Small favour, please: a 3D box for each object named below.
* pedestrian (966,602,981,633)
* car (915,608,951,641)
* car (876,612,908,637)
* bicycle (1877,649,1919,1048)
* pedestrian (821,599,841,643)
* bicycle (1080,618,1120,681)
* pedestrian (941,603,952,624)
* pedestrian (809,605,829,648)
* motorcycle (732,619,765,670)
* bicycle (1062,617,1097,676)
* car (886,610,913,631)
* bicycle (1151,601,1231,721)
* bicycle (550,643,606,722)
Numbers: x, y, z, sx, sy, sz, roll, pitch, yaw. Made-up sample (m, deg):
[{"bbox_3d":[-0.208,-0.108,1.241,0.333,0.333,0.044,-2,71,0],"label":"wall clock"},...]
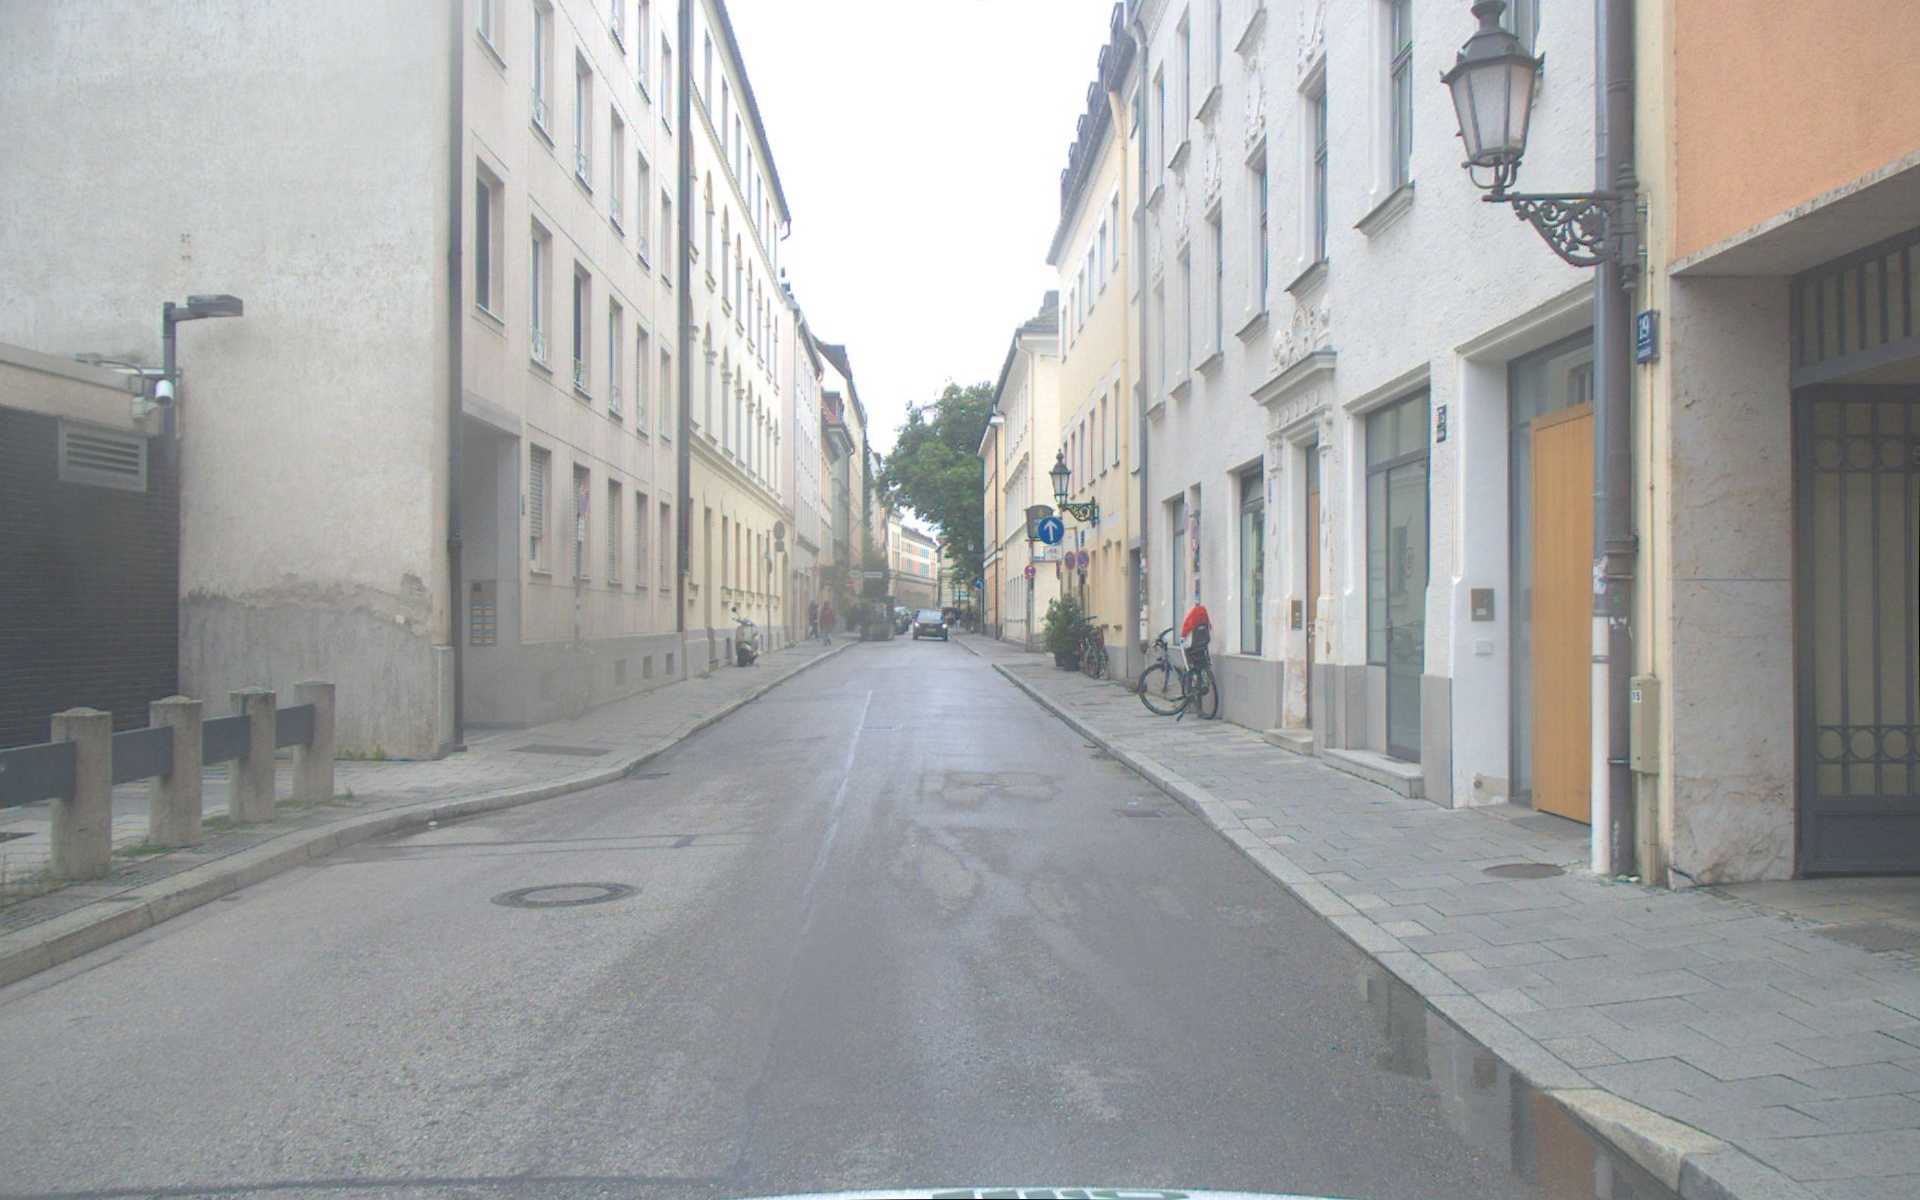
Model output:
[{"bbox_3d":[0.806,1.050,100.339,0.862,1.834,1.046,1,-1,-1],"label":"pedestrian"},{"bbox_3d":[-1.376,1.214,84.224,1.775,1.622,3.999,0,0,-2],"label":"car"},{"bbox_3d":[-4.243,1.506,103.333,1.742,1.492,3.663,1,0,1],"label":"car"},{"bbox_3d":[3.335,0.776,4.153,0.665,1.261,2.382,-4,0,0],"label":"bicycle"},{"bbox_3d":[-5.119,0.826,65.643,0.750,1.738,0.785,0,-1,-4],"label":"pedestrian"},{"bbox_3d":[2.709,0.944,32.153,0.554,1.157,1.987,-2,0,0],"label":"bicycle"},{"bbox_3d":[-1.179,1.187,143.547,0.995,1.834,1.349,1,-1,-1],"label":"pedestrian"},{"bbox_3d":[-5.979,1.105,70.098,0.793,1.786,0.989,1,1,-4],"label":"pedestrian"},{"bbox_3d":[-5.102,1.057,40.018,0.590,1.194,1.708,1,0,-1],"label":"motorcycle"},{"bbox_3d":[2.483,0.958,34.382,0.554,1.157,1.684,-2,0,0],"label":"bicycle"},{"bbox_3d":[-4.492,1.542,123.411,1.742,1.492,3.542,1,0,1],"label":"car"},{"bbox_3d":[2.924,0.741,21.089,0.698,1.420,2.122,-3,0,1],"label":"bicycle"},{"bbox_3d":[-5.020,1.067,21.789,0.313,0.960,1.574,3,0,0],"label":"bicycle"}]
